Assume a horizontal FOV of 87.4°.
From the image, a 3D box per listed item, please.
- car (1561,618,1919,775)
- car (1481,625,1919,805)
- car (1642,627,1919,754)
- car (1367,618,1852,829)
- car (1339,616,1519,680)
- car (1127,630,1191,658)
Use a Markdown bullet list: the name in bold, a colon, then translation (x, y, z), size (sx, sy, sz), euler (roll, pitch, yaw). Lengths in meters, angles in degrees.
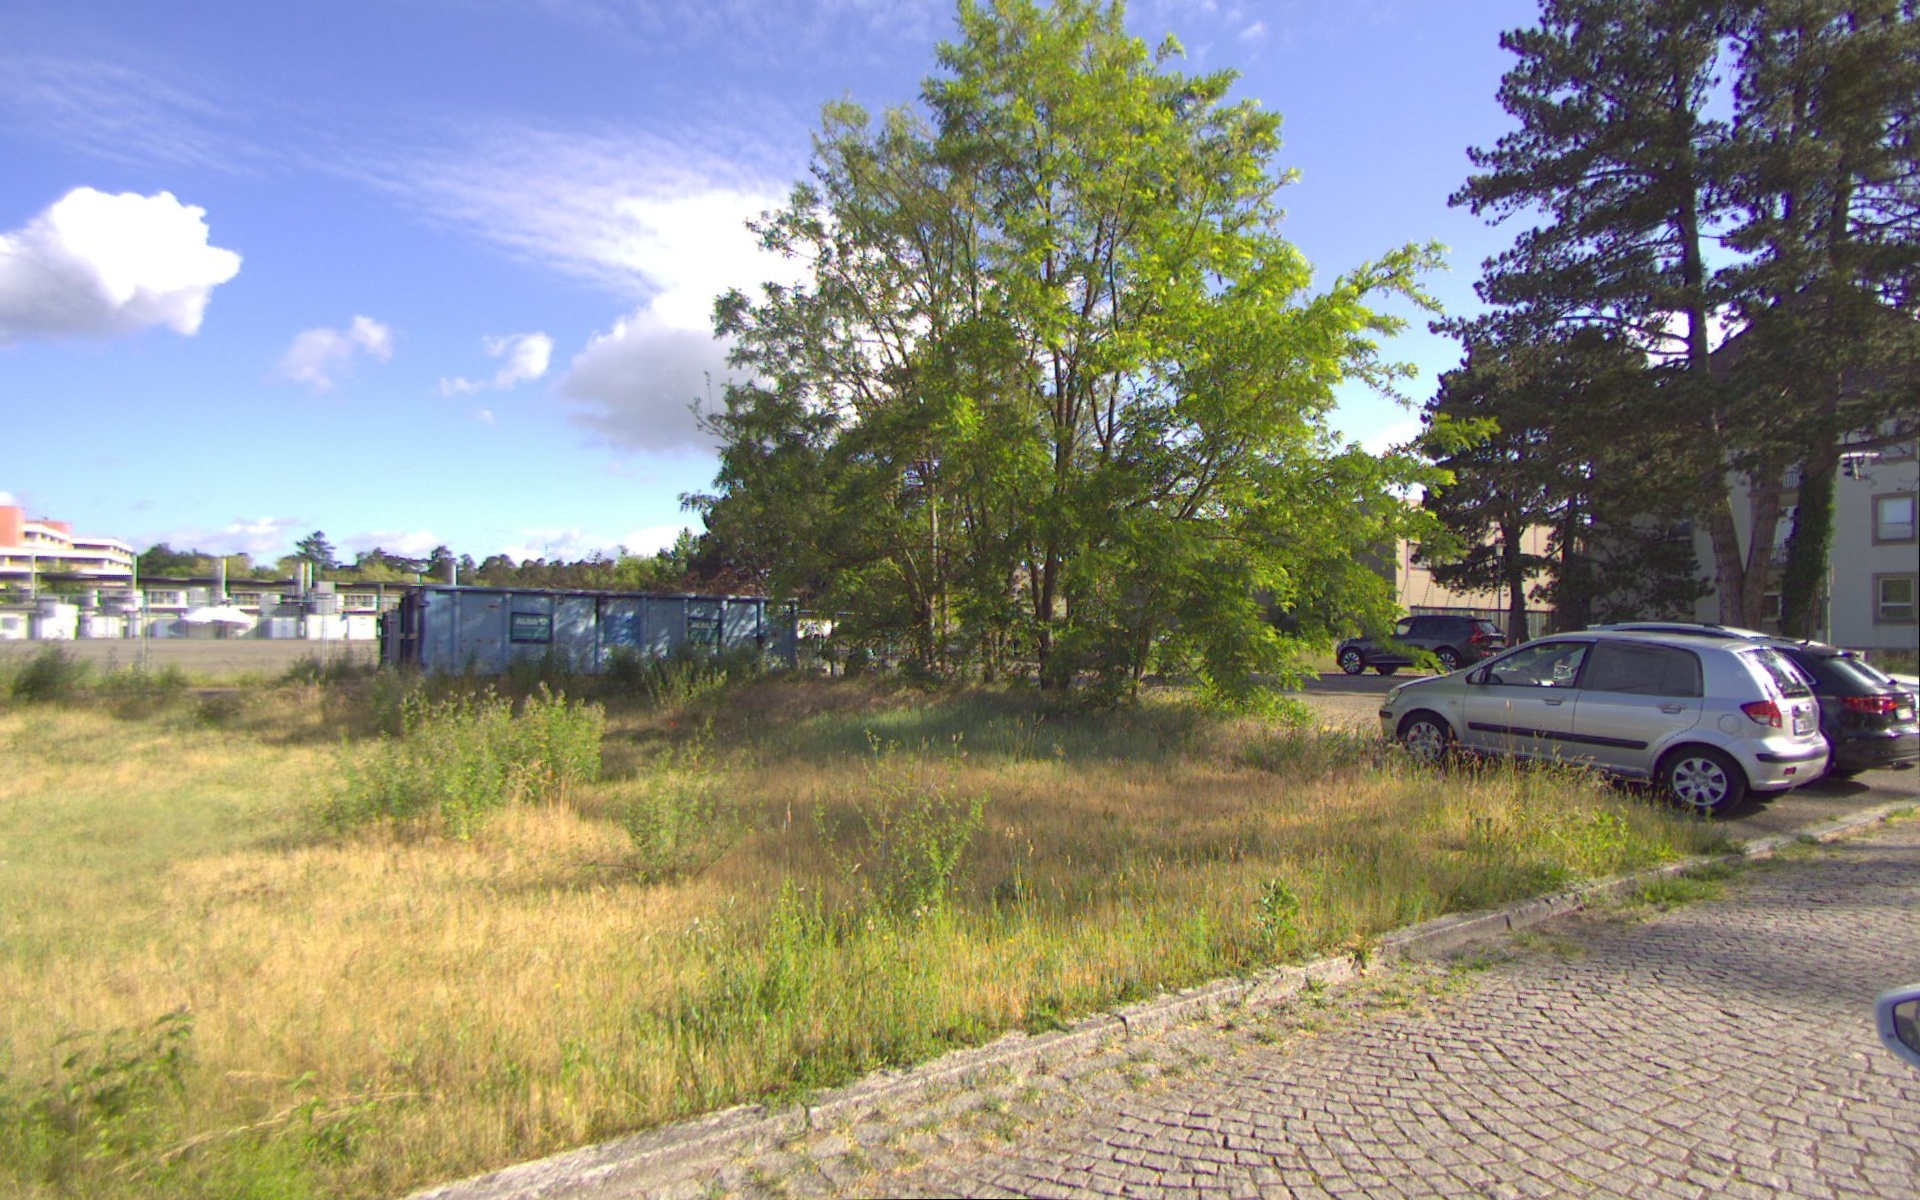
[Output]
- **car**: translation (10.411, 1.131, 13.315), size (1.643, 1.637, 3.856), euler (1, 0, -34)
- **car**: translation (8.342, 1.129, 11.458), size (1.673, 1.464, 3.913), euler (1, 1, -34)
- **car**: translation (12.582, 1.235, 14.677), size (1.750, 1.516, 3.970), euler (1, 0, -28)
- **car**: translation (6.185, 1.022, 9.945), size (1.682, 1.548, 3.661), euler (1, 0, -35)
- **car**: translation (12.839, 1.292, 27.752), size (1.987, 1.630, 4.122), euler (1, -2, -32)
- **car**: translation (13.082, 2.884, 66.120), size (3.956, 1.802, 1.856), euler (1, -2, -31)
